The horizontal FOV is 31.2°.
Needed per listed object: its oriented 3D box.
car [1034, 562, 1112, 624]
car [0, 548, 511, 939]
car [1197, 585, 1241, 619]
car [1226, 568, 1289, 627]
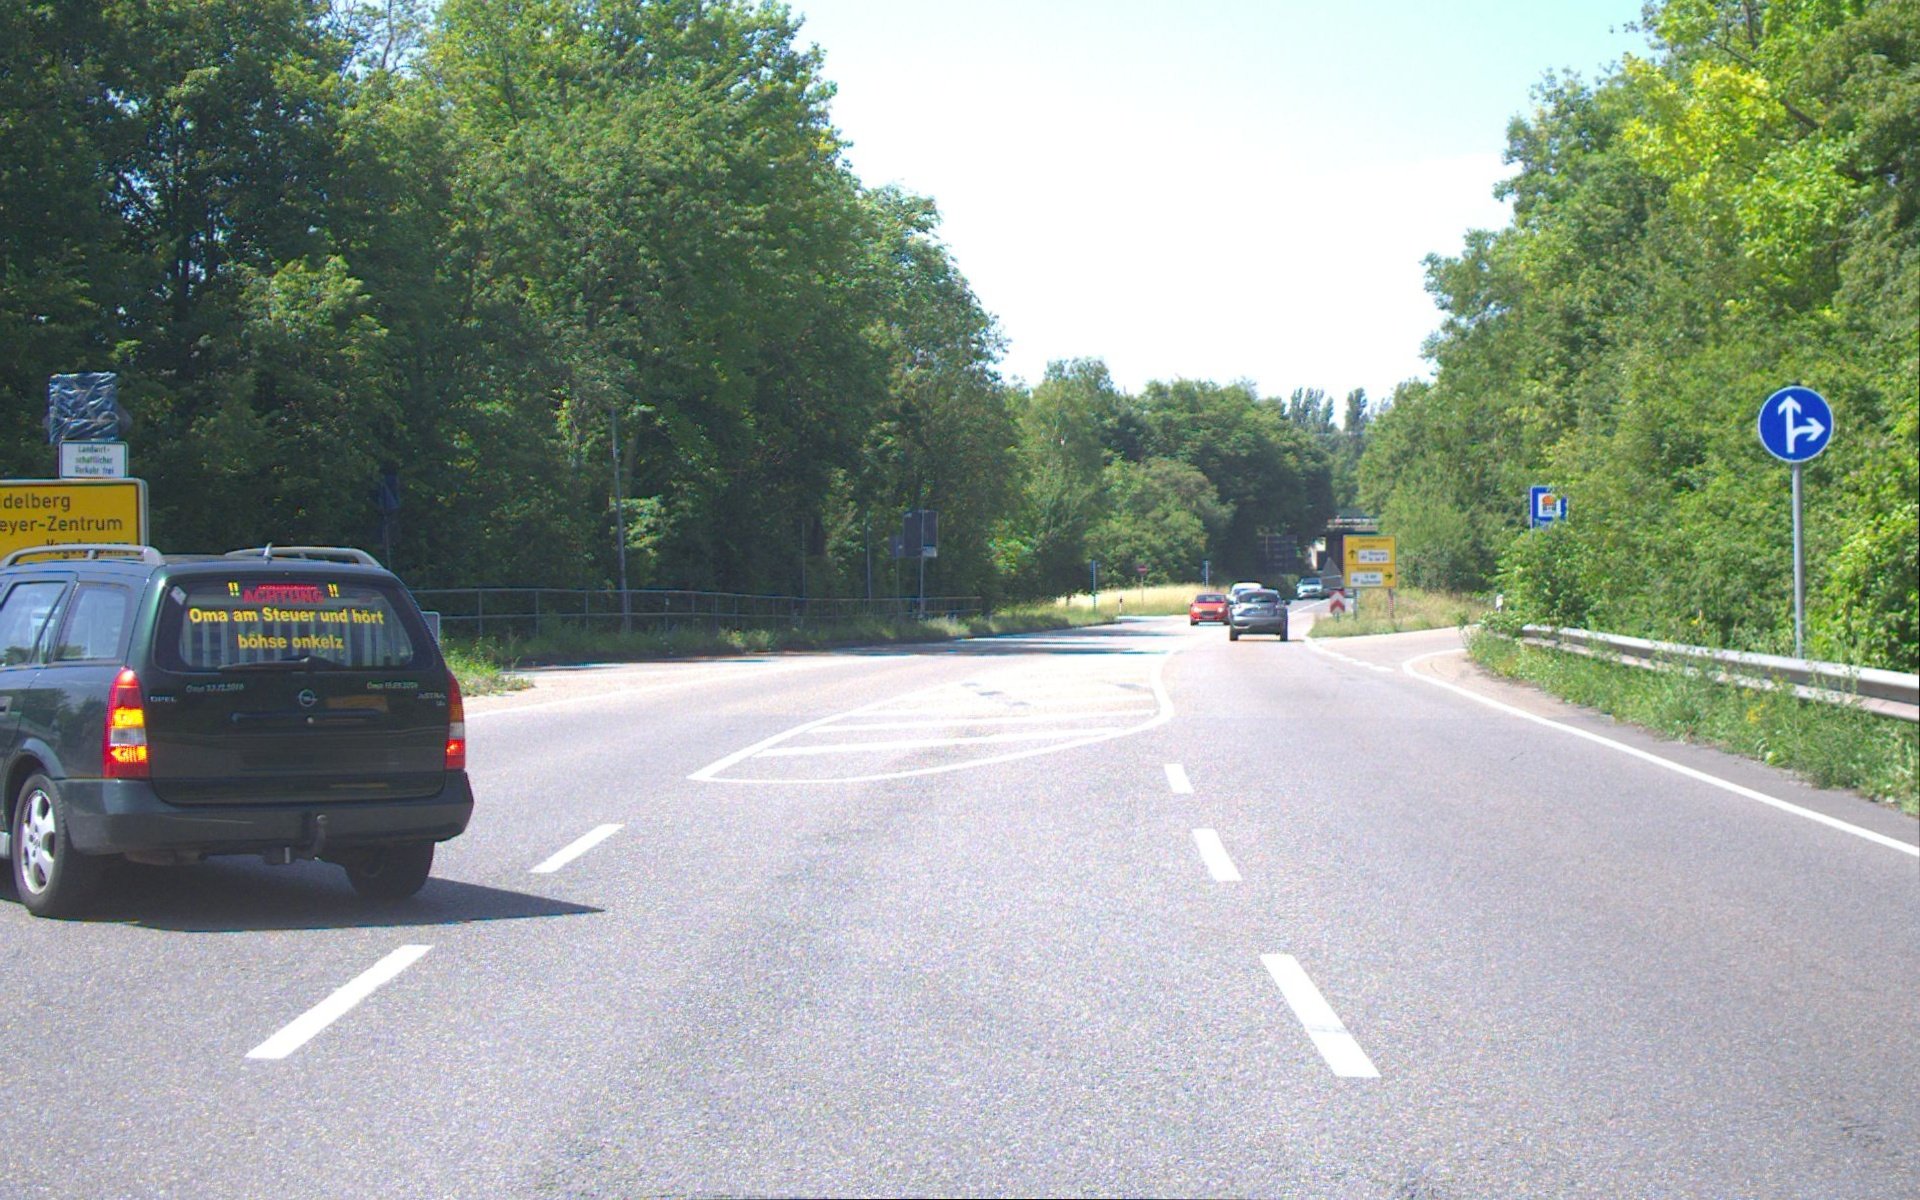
[{"bbox_3d":[5.973,-0.396,181.694,1.993,3.215,4.809,-1,1,-28],"label":"car"},{"bbox_3d":[-3.597,0.508,14.950,1.720,1.452,3.797,-1,1,-35],"label":"car"},{"bbox_3d":[11.692,0.082,155.098,1.810,1.453,3.757,0,1,6],"label":"car"},{"bbox_3d":[9.039,-0.091,104.622,1.843,1.679,4.000,0,1,4],"label":"car"}]
